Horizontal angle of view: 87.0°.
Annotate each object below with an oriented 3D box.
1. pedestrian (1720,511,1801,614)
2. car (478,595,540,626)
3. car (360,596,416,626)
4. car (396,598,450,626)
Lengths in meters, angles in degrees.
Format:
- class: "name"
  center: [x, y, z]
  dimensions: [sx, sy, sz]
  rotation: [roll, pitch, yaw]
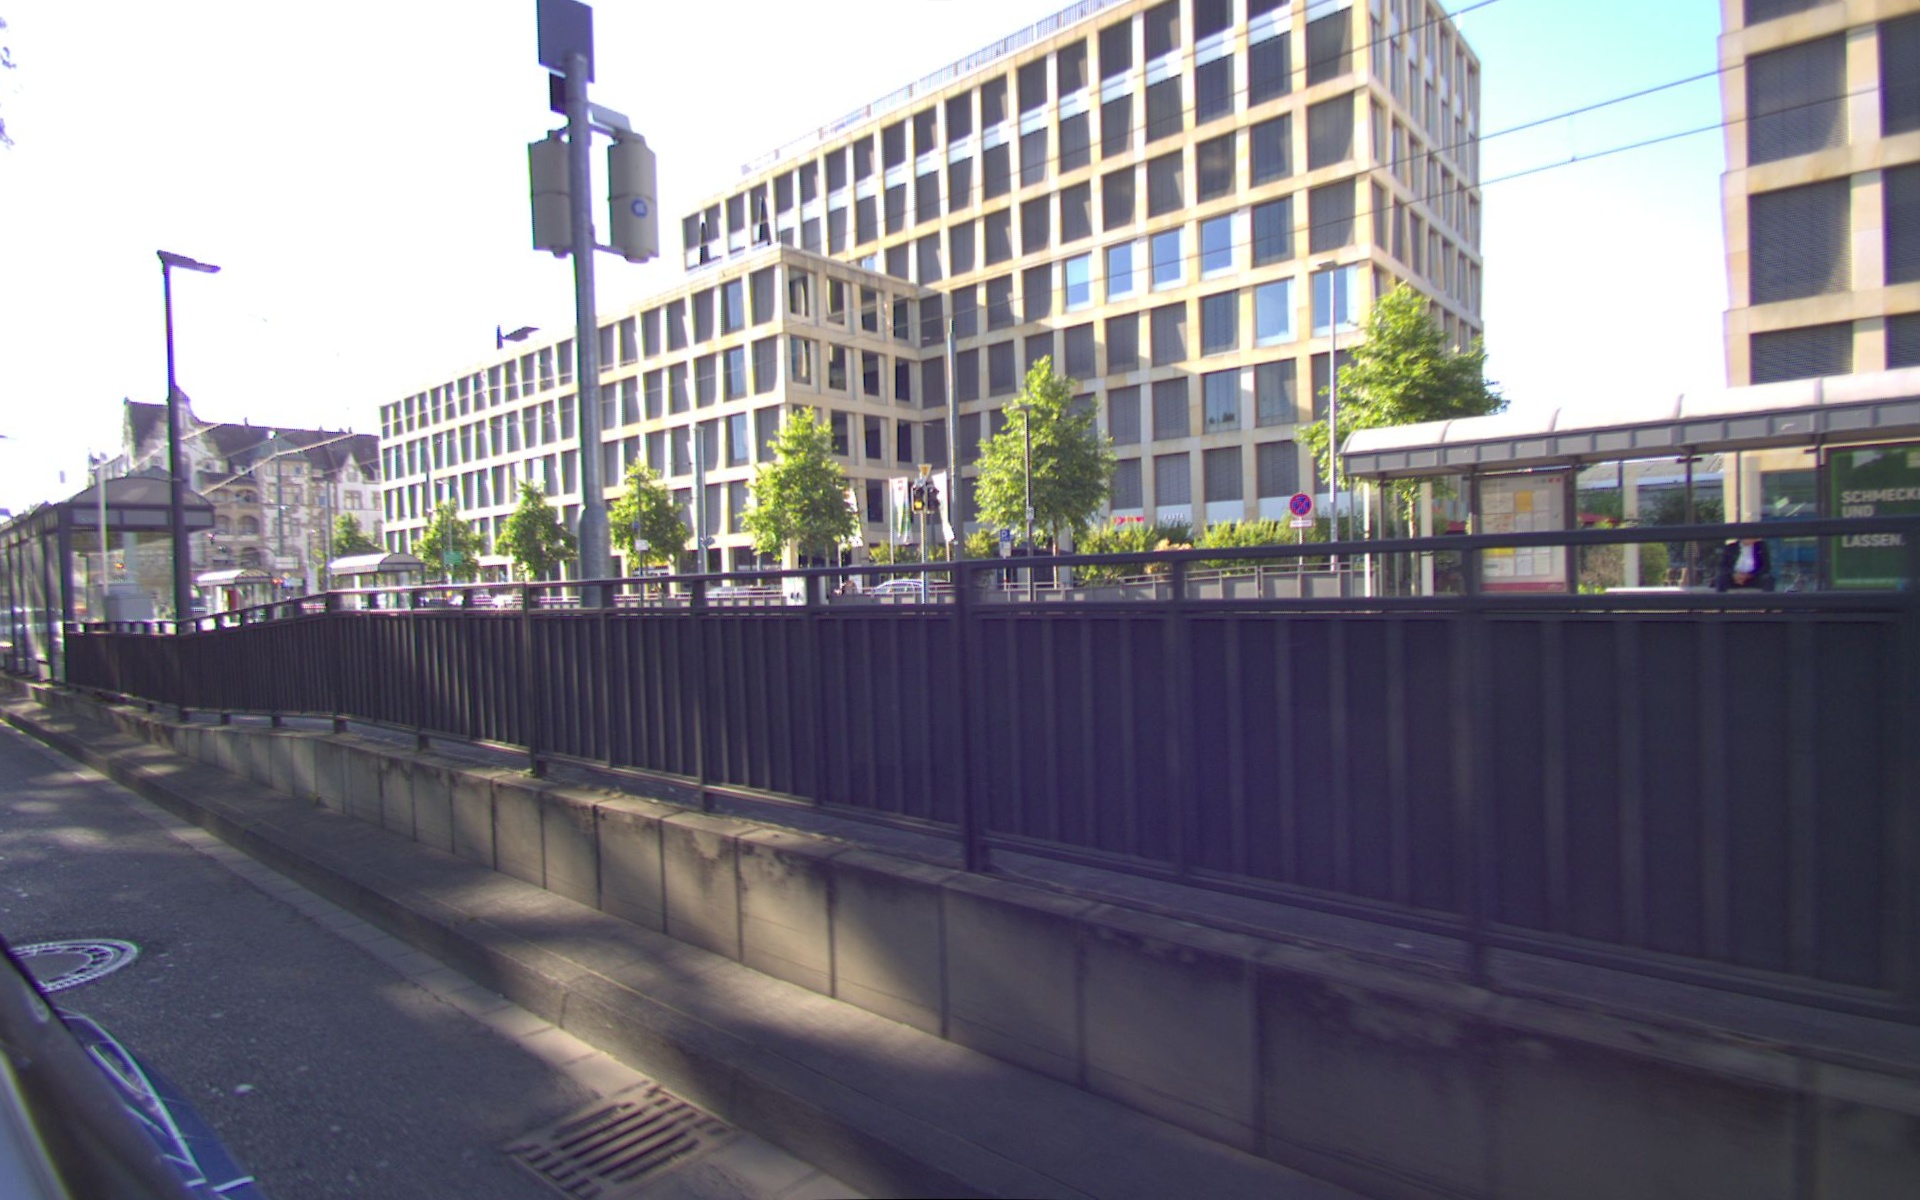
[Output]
- class: "pedestrian"
  center: [10.237, -0.466, 12.942]
  dimensions: [0.725, 1.269, 0.607]
  rotation: [-1, 1, 45]
- class: "car"
  center: [-23.864, 0.577, 53.520]
  dimensions: [3.599, 1.523, 1.627]
  rotation: [-1, 1, 42]
- class: "car"
  center: [-36.684, 0.710, 64.888]
  dimensions: [3.999, 1.782, 1.898]
  rotation: [-1, 1, 42]
- class: "car"
  center: [-32.311, 0.704, 60.875]
  dimensions: [3.649, 1.573, 1.627]
  rotation: [-1, 1, 42]
